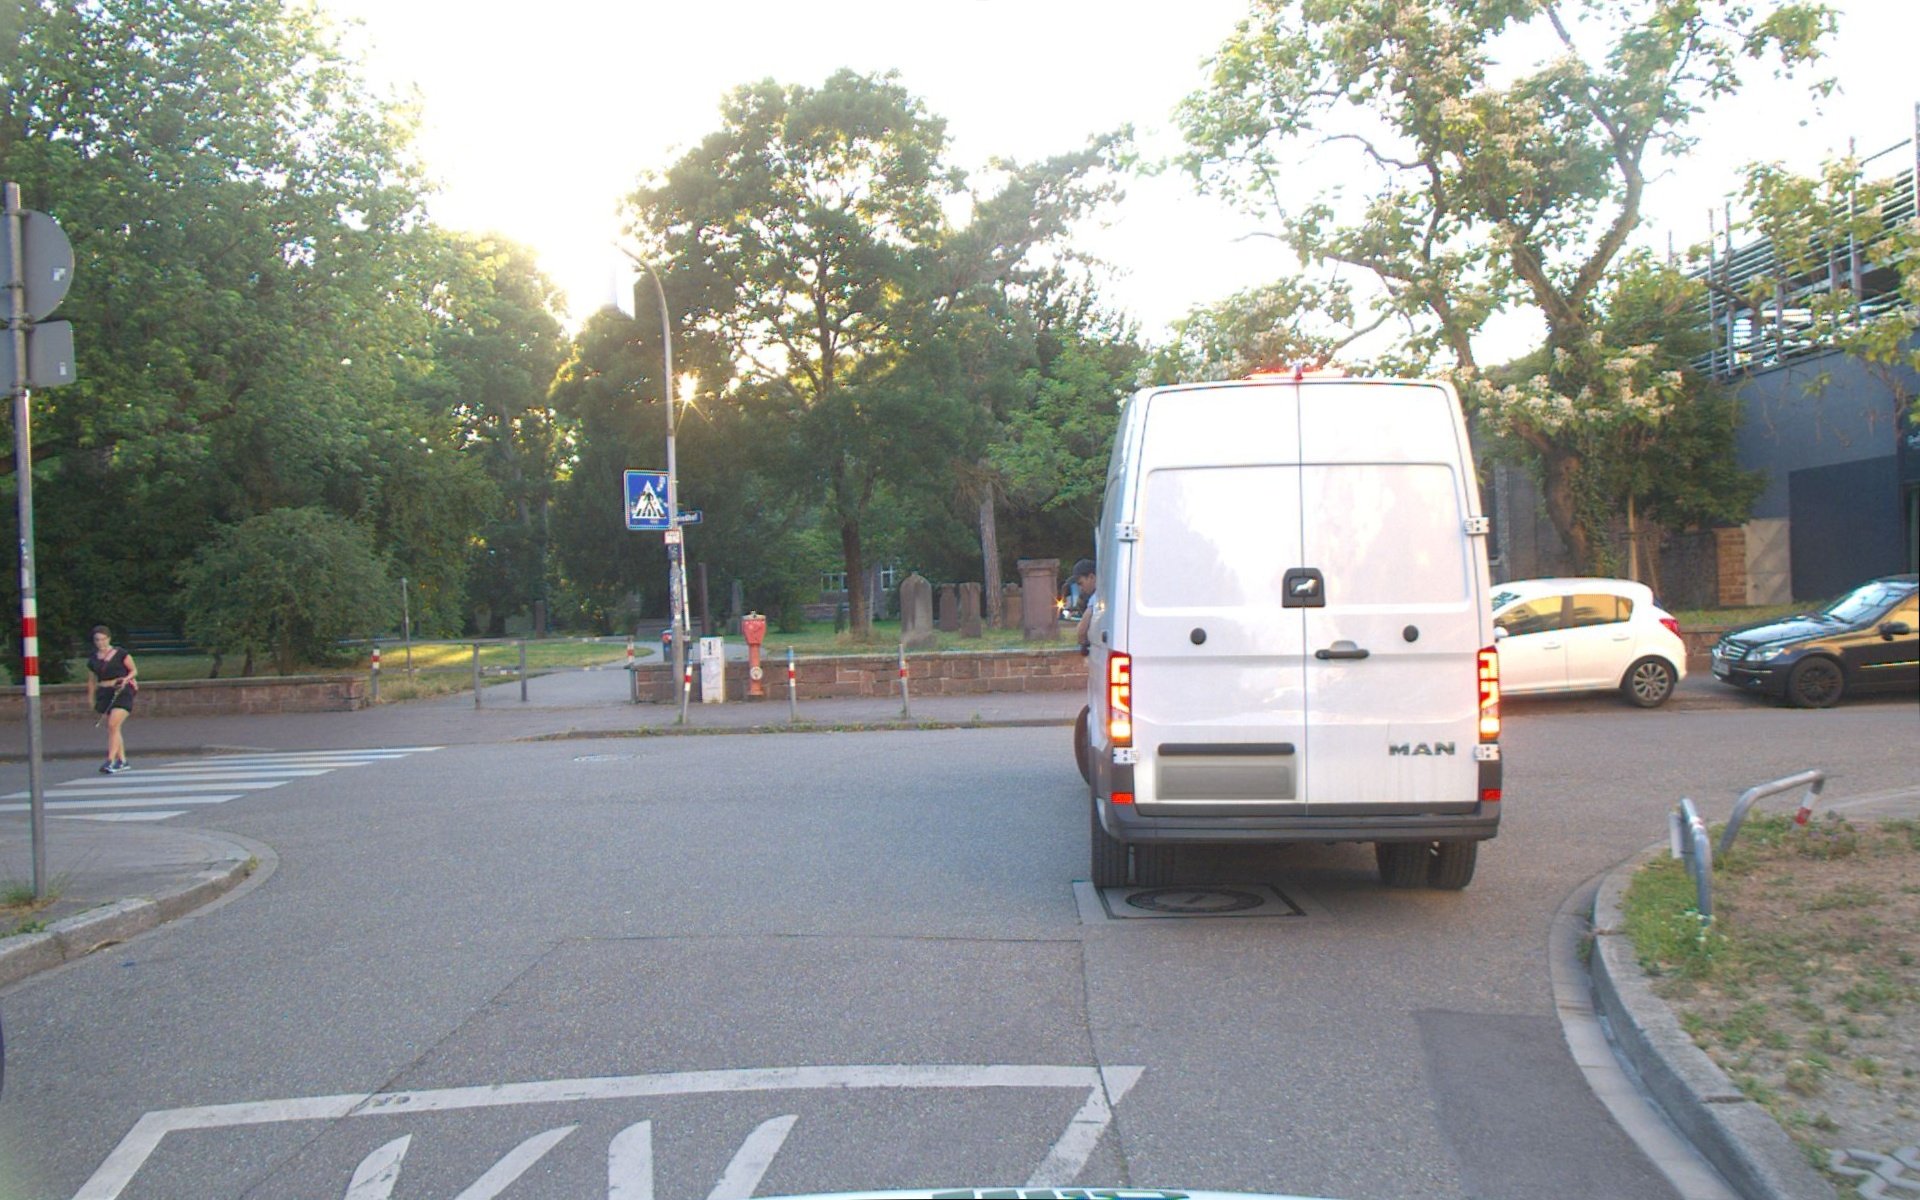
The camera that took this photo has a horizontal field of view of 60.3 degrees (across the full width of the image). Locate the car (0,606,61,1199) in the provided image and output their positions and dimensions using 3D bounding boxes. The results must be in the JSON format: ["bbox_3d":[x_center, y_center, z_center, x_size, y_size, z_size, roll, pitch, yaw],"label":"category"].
[{"bbox_3d":[-3.217,0.860,2.478,1.699,1.594,3.789,-3,0,-2],"label":"car"}]

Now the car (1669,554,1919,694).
[{"bbox_3d":[11.262,0.235,20.410,4.202,1.529,1.824,-3,0,5],"label":"car"}]

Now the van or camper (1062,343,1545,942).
[{"bbox_3d":[1.751,0.202,10.688,1.952,2.664,6.404,1,0,2],"label":"van or camper"}]

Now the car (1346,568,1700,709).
[{"bbox_3d":[7.004,0.457,20.870,3.776,1.601,1.958,-1,0,-1],"label":"car"}]

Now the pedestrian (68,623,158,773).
[{"bbox_3d":[-9.691,1.105,18.935,0.632,1.677,0.674,0,0,12],"label":"pedestrian"}]

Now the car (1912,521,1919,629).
[{"bbox_3d":[4.580,0.478,3.224,4.315,1.660,1.845,-3,-2,-2],"label":"car"}]
